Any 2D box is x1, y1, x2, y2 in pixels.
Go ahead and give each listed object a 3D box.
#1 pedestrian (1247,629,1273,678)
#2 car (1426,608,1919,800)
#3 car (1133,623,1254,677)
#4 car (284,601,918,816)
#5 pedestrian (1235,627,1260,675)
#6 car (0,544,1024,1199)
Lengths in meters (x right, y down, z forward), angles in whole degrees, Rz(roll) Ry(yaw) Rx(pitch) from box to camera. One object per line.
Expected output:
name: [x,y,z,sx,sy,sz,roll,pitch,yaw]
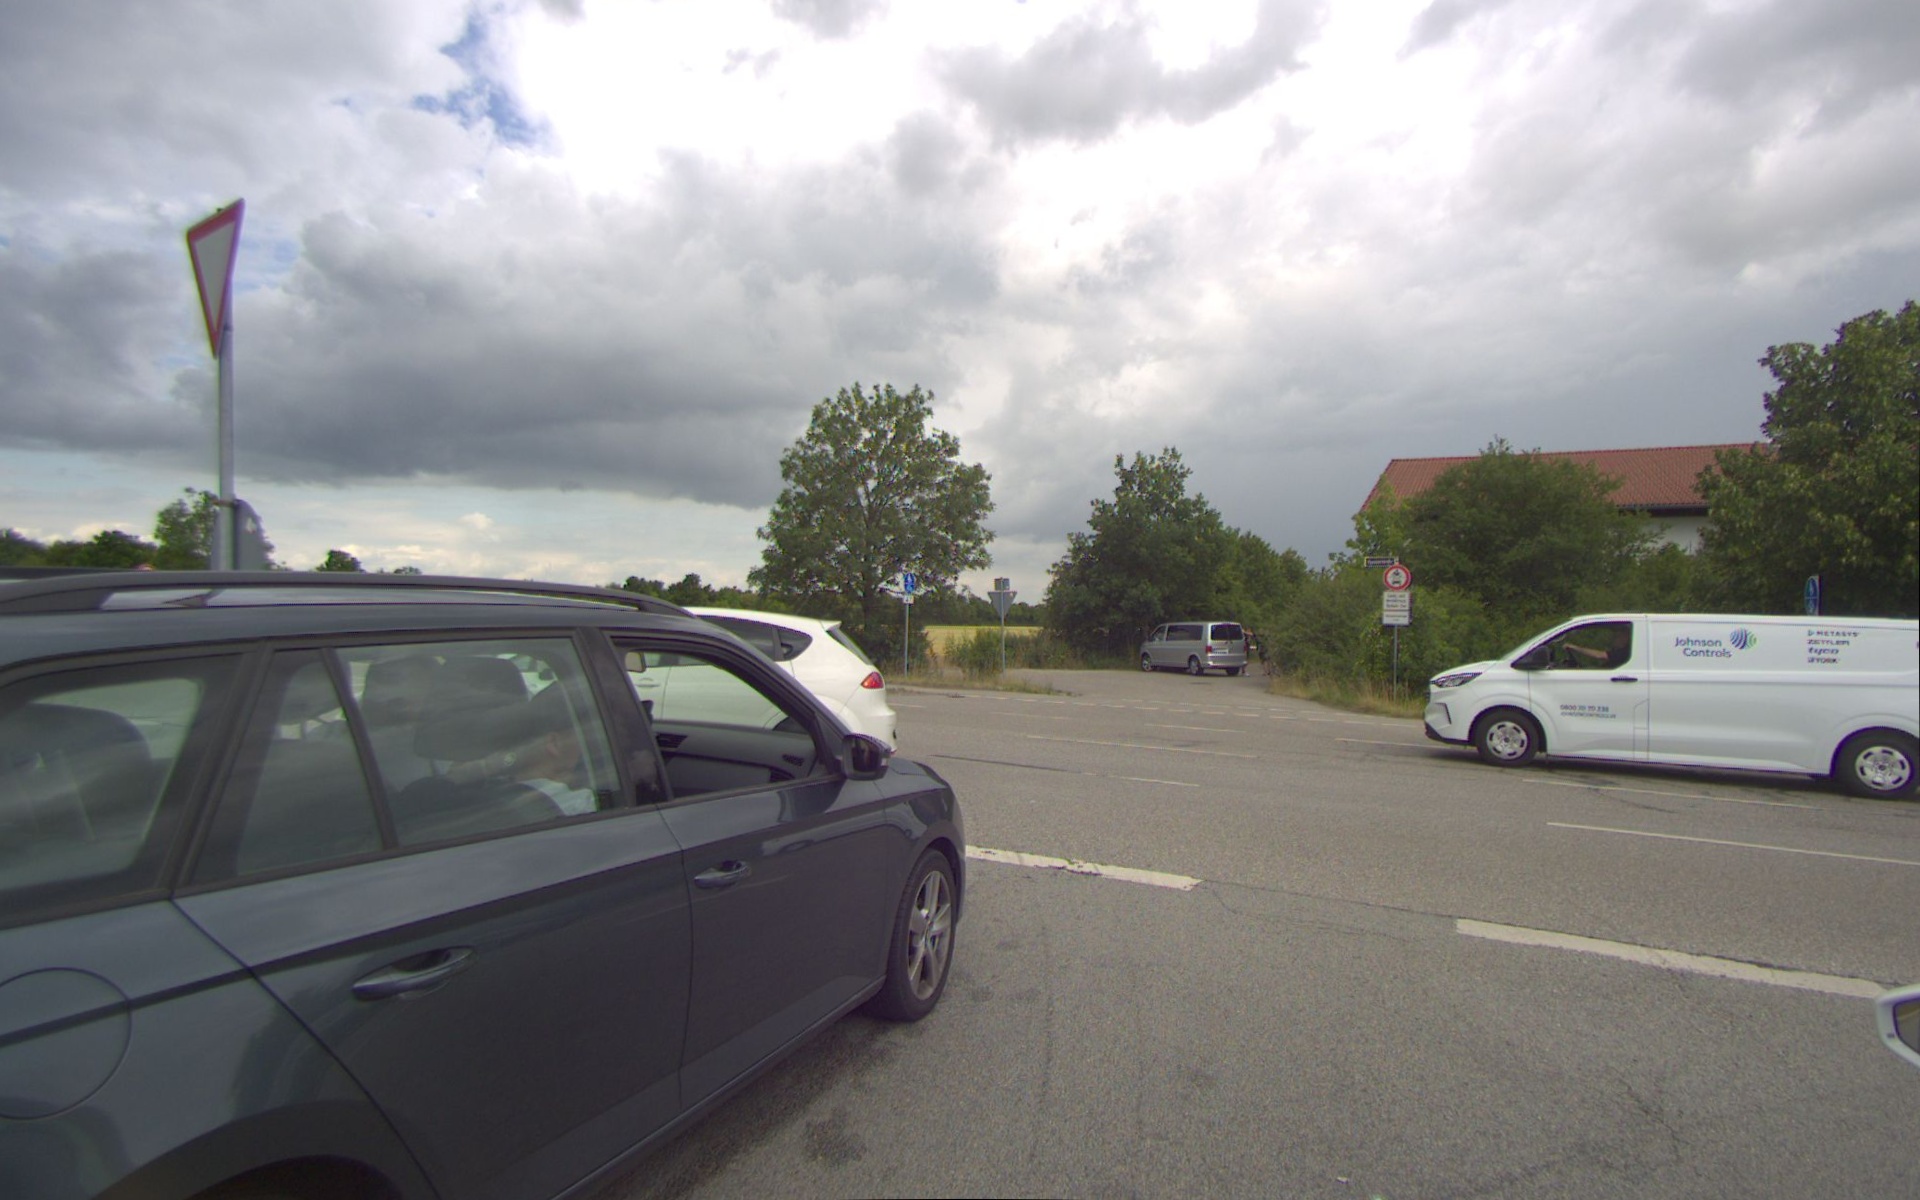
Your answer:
pedestrian: [10.886,1.922,36.447,0.713,1.746,0.790,0,-1,32]
car: [8.604,1.116,12.144,5.292,1.911,2.110,0,-2,28]
car: [8.849,1.862,38.625,2.081,1.911,5.077,1,-1,-21]
car: [-2.582,0.812,8.026,4.238,1.426,1.816,2,-2,-12]
pedestrian: [10.779,1.912,37.647,0.692,1.746,0.730,0,-1,36]
car: [-1.281,0.681,2.749,1.685,1.466,4.116,2,-1,22]
